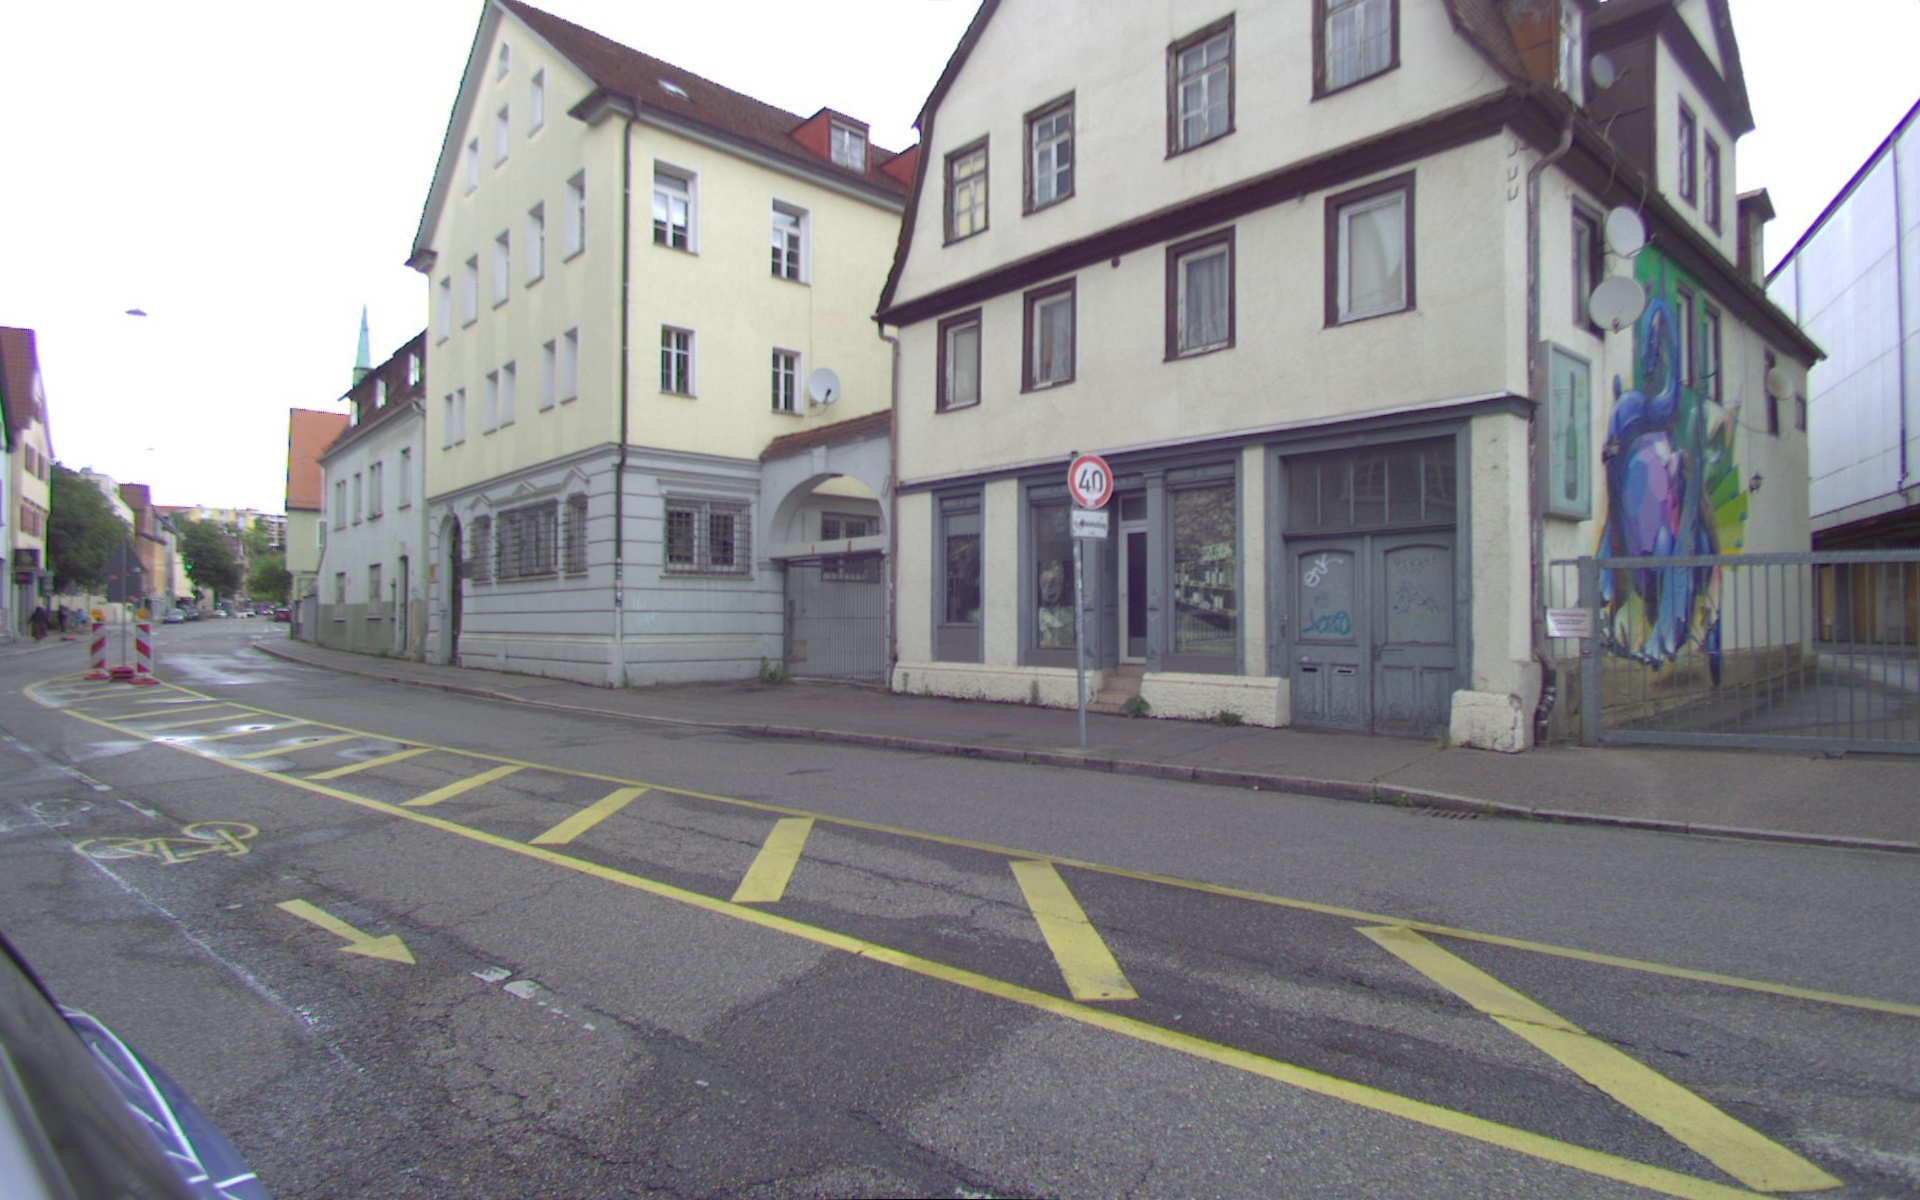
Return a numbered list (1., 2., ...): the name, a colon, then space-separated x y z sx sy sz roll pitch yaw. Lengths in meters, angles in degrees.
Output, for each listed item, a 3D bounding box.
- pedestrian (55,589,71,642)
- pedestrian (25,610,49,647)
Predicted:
1. pedestrian: -43.738 0.763 49.354 0.487 2.547 0.747 1 -2 -38
2. pedestrian: -41.182 1.270 45.156 0.714 1.626 0.649 2 -2 -40
